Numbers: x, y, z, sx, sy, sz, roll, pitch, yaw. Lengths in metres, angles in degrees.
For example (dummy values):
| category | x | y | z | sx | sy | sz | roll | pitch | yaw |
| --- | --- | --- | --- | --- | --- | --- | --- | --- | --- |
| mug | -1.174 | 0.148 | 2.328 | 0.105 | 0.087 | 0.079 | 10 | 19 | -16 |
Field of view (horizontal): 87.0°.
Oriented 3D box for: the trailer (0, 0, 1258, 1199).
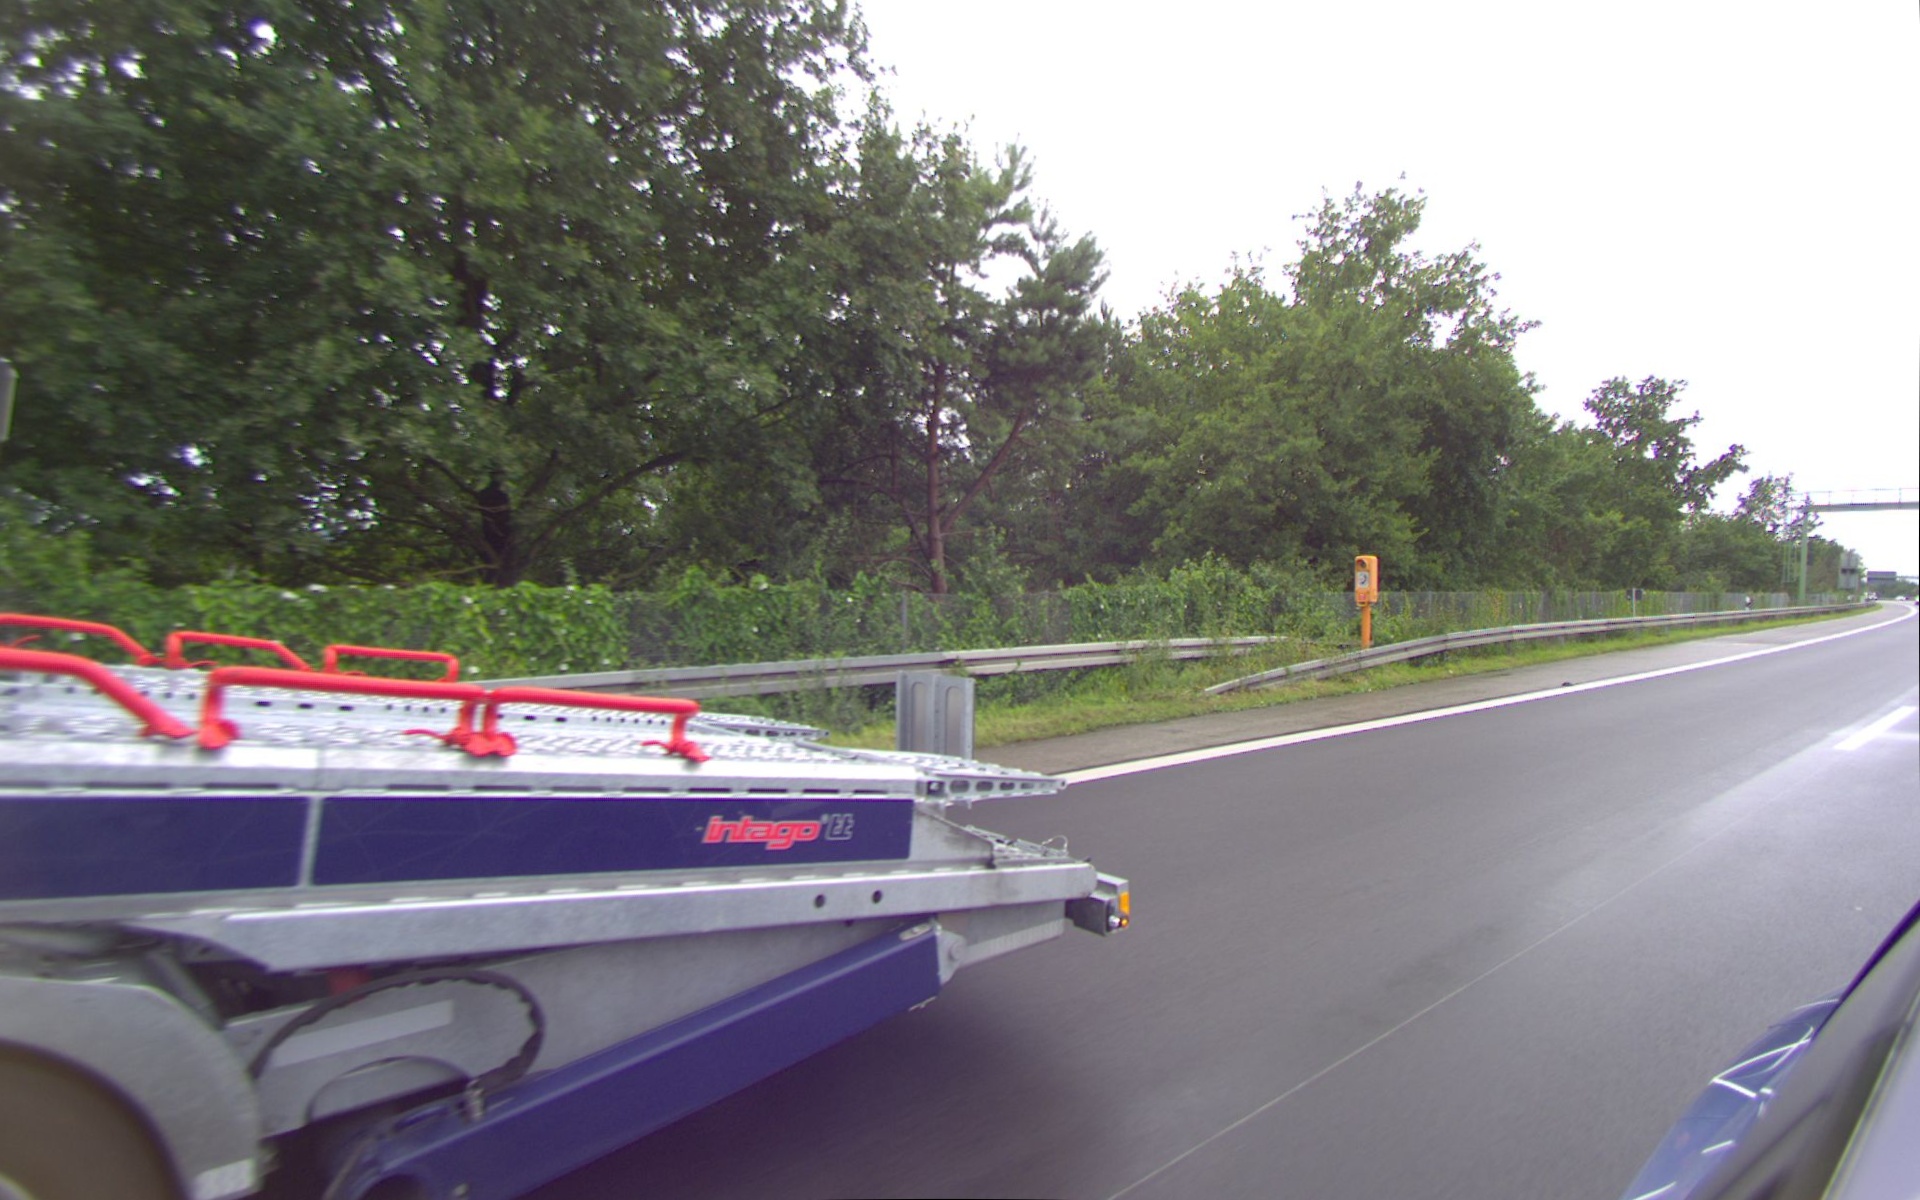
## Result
| category | x | y | z | sx | sy | sz | roll | pitch | yaw |
| --- | --- | --- | --- | --- | --- | --- | --- | --- | --- |
| trailer | -3.707 | -0.249 | 1.363 | 10.223 | 3.326 | 2.783 | -1 | 1 | -40 |
